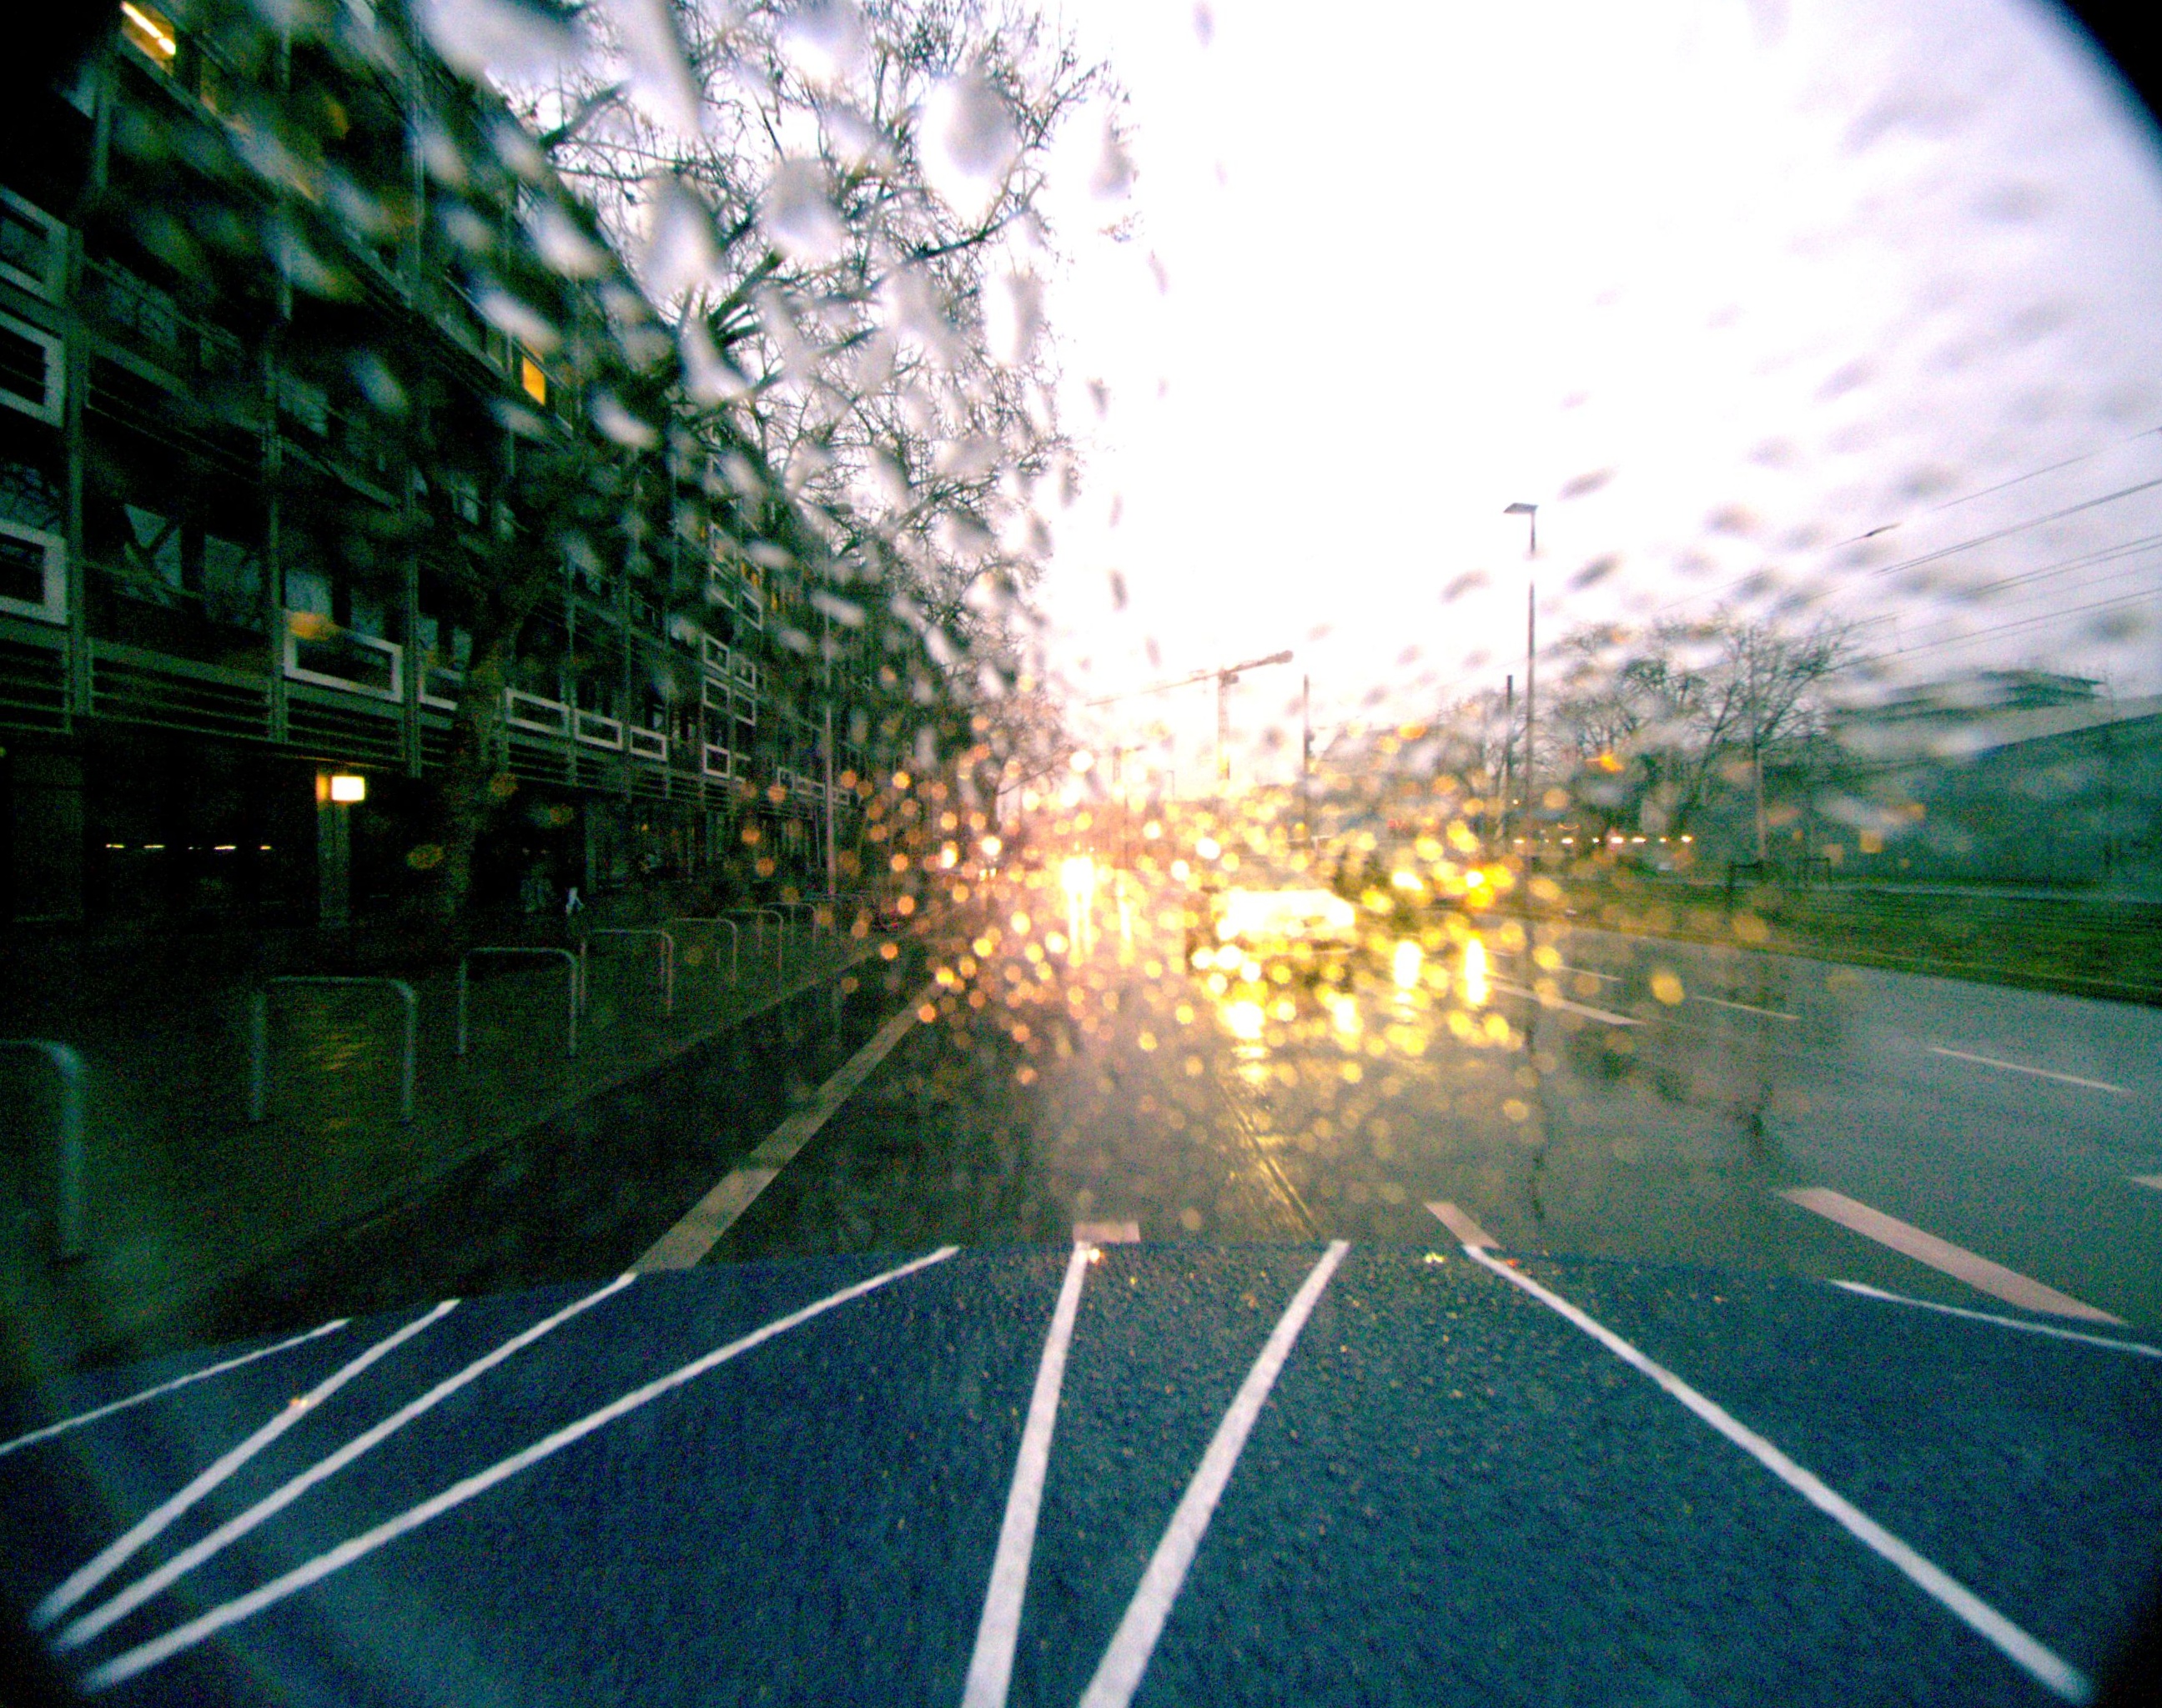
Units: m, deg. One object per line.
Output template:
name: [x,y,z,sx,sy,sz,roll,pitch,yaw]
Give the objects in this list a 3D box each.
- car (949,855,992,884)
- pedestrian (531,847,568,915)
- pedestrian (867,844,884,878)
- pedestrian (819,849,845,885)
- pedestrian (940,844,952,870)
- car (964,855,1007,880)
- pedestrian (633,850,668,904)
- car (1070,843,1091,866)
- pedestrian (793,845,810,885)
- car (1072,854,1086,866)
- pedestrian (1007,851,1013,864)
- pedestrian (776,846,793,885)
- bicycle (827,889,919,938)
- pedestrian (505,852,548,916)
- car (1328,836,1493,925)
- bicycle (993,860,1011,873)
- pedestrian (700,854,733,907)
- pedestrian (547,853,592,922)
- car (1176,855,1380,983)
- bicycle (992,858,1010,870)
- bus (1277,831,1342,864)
car: [-6.057,0.821,41.991,1.608,1.424,3.930,2,1,2]
pedestrian: [-13.178,0.657,18.852,0.379,1.658,0.713,0,1,1]
pedestrian: [-12.170,0.387,44.997,0.822,2.002,0.735,0,1,-2]
pedestrian: [-10.834,0.550,33.088,0.866,1.515,0.838,0,1,1]
pedestrian: [-10.521,0.223,59.265,0.791,2.002,1.024,0,1,0]
car: [-5.825,0.837,46.781,1.998,1.477,4.001,1,-1,1]
pedestrian: [-13.568,0.714,23.951,0.617,1.647,0.780,0,1,1]
car: [-0.029,0.040,69.867,1.858,2.002,4.000,-1,0,1]
pedestrian: [-12.114,0.466,32.946,0.661,1.708,0.841,-1,1,-20]
car: [-0.262,0.820,101.551,1.858,1.591,4.001,-1,-1,1]
pedestrian: [-11.110,0.495,118.730,0.838,2.002,0.771,-2,1,0]
pedestrian: [-12.606,0.492,32.320,0.642,1.645,0.841,-1,1,-22]
bicycle: [-4.415,1.260,16.216,1.792,0.968,0.617,1,1,-4]
pedestrian: [-13.700,0.722,18.796,0.484,1.555,0.745,0,1,0]
car: [7.174,0.503,17.122,1.707,1.733,4.611,0,0,-1]
bicycle: [-6.829,1.098,65.400,1.523,1.030,0.469,-2,1,-7]
pedestrian: [-10.722,0.767,22.362,0.649,1.535,0.615,0,1,2]
pedestrian: [-12.630,0.819,18.774,0.501,1.658,0.873,0,1,1]
car: [2.638,0.782,11.200,1.778,1.466,4.128,-1,0,-2]
bicycle: [-7.032,0.898,66.916,1.523,1.030,0.469,-2,1,-7]
bus: [26.337,-0.766,88.418,2.815,3.557,12.299,0,0,-6]
